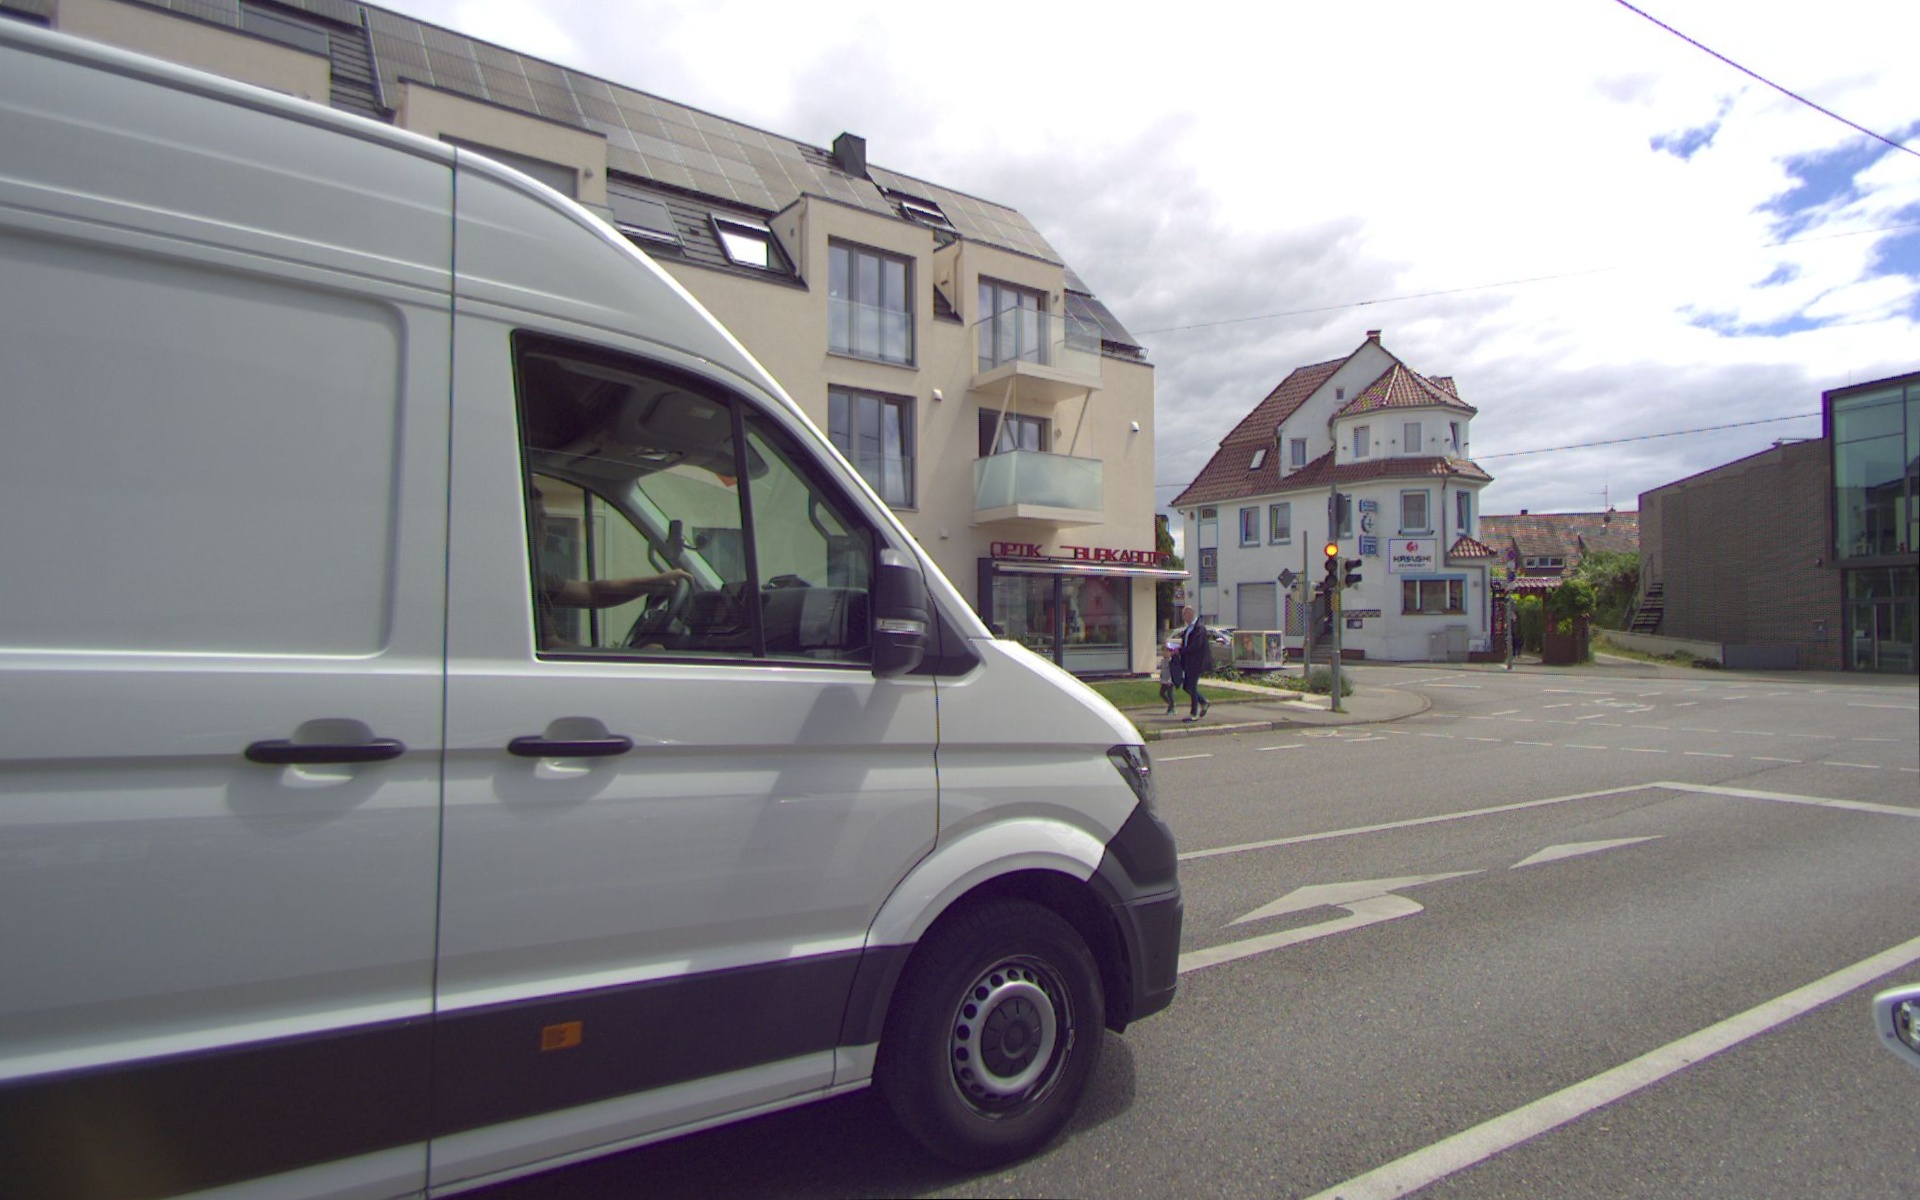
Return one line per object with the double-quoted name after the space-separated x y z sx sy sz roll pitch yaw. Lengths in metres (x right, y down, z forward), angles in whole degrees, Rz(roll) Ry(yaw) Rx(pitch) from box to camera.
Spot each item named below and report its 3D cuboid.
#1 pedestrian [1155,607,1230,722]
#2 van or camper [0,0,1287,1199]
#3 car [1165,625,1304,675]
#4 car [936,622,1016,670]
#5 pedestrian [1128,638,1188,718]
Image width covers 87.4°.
3.630 0.985 15.705 0.817 1.744 0.809 1 -1 -36 "pedestrian"
-1.949 0.139 2.479 5.857 2.615 2.013 0 0 -33 "van or camper"
9.513 1.704 35.086 1.879 1.475 4.468 1 0 -36 "car"
0.691 2.141 47.636 1.977 2.040 3.966 1 0 -31 "car"
3.227 1.252 16.370 0.729 1.238 0.639 1 -1 -38 "pedestrian"
